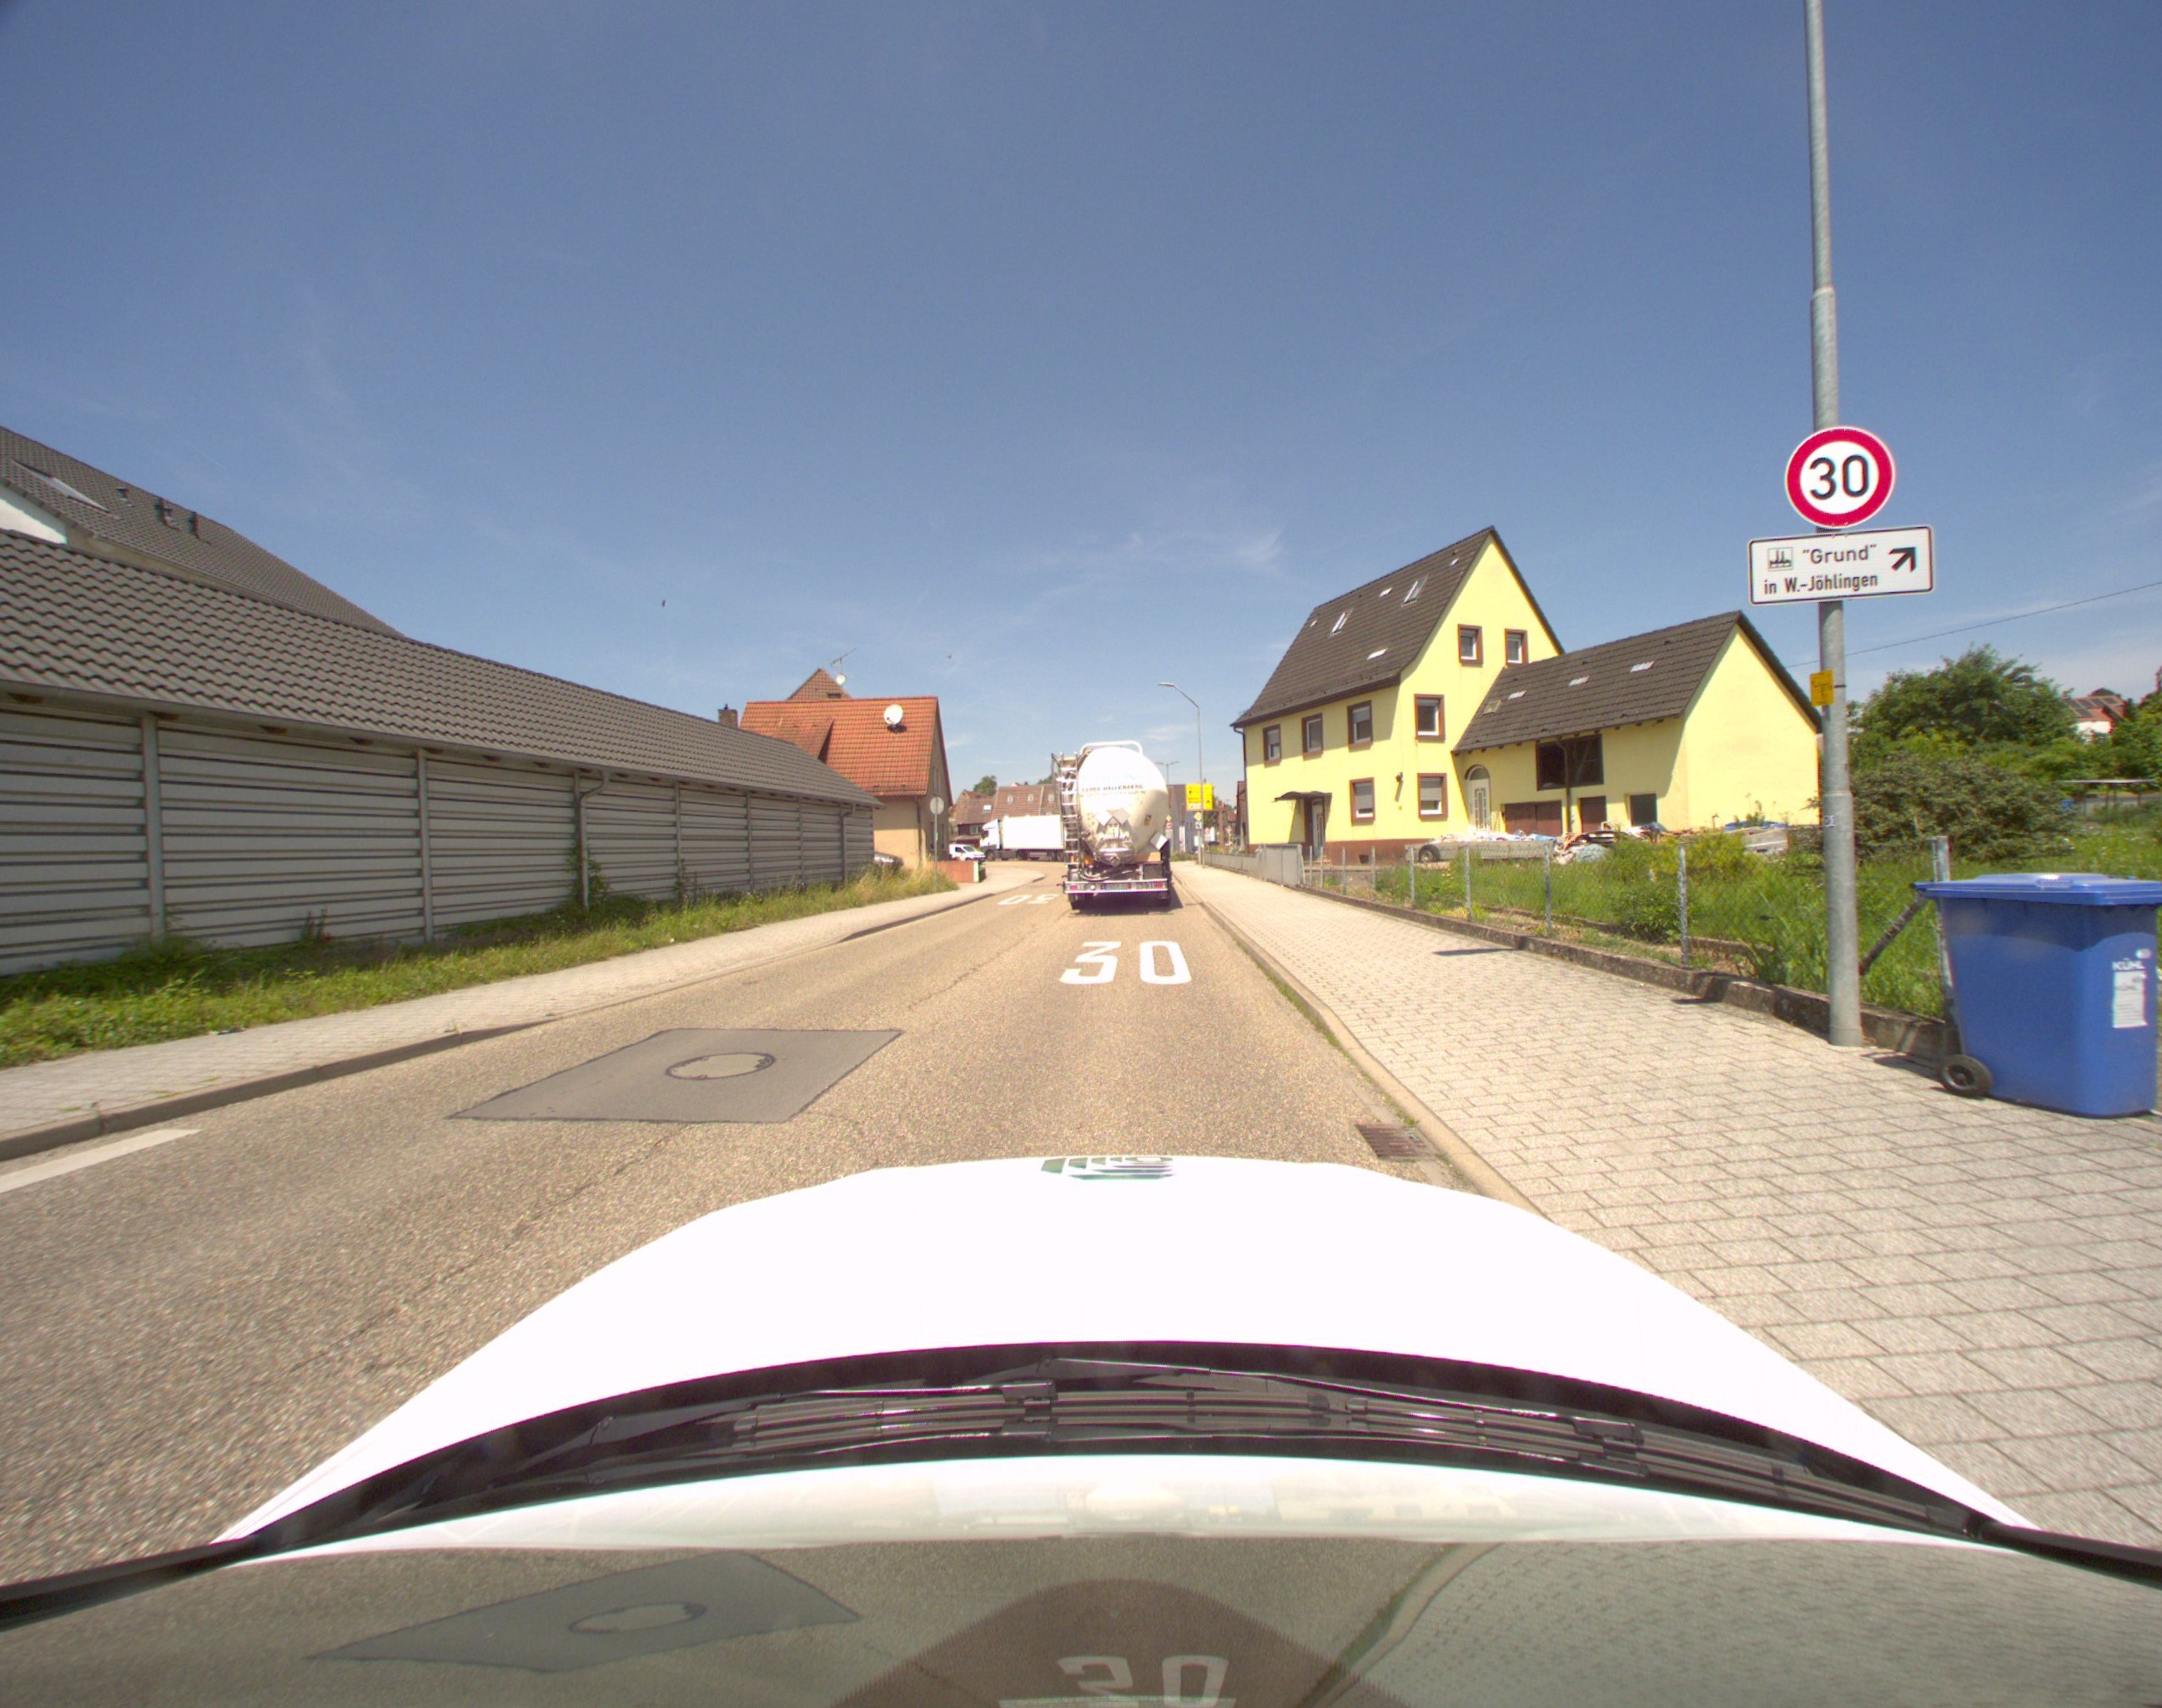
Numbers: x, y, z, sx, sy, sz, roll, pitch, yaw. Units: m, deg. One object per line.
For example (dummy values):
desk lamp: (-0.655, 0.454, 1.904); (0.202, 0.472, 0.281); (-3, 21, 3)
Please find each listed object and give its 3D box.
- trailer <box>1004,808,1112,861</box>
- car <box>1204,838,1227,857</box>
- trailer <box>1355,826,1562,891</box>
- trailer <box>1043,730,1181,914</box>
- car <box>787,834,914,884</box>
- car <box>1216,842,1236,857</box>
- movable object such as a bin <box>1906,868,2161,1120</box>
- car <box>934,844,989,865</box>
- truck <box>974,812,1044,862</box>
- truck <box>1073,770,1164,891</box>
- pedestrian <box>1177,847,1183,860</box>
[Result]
trailer: (-2.306, -1.574, 72.402); (3.156, 4.277, 12.357); (-1, 0, -36)
car: (15.114, -0.697, 91.250); (1.978, 1.912, 4.343); (-1, -1, 16)
trailer: (10.259, 0.081, 22.085); (5.372, 1.546, 2.121); (-1, 0, -25)
trailer: (0.993, -0.666, 23.438); (2.940, 3.948, 11.628); (-1, 0, 3)
car: (-8.668, 0.185, 30.829); (4.104, 1.638, 1.868); (-3, 0, 5)
car: (17.458, -0.555, 97.978); (1.802, 1.634, 4.227); (-2, 0, 18)
movable object such as a bin: (4.569, 0.609, 3.891); (0.565, 1.057, 0.648); (-2, 0, -12)
car: (-10.531, 0.039, 71.904); (4.465, 1.785, 1.891); (-1, 2, 25)
truck: (-6.863, -1.559, 77.376); (5.858, 4.401, 3.134); (-2, 0, 32)
truck: (1.432, -0.778, 29.879); (2.974, 3.965, 5.585); (-1, 0, 4)
pedestrian: (15.391, -0.099, 126.562); (0.762, 2.013, 0.982); (-1, 0, 25)
